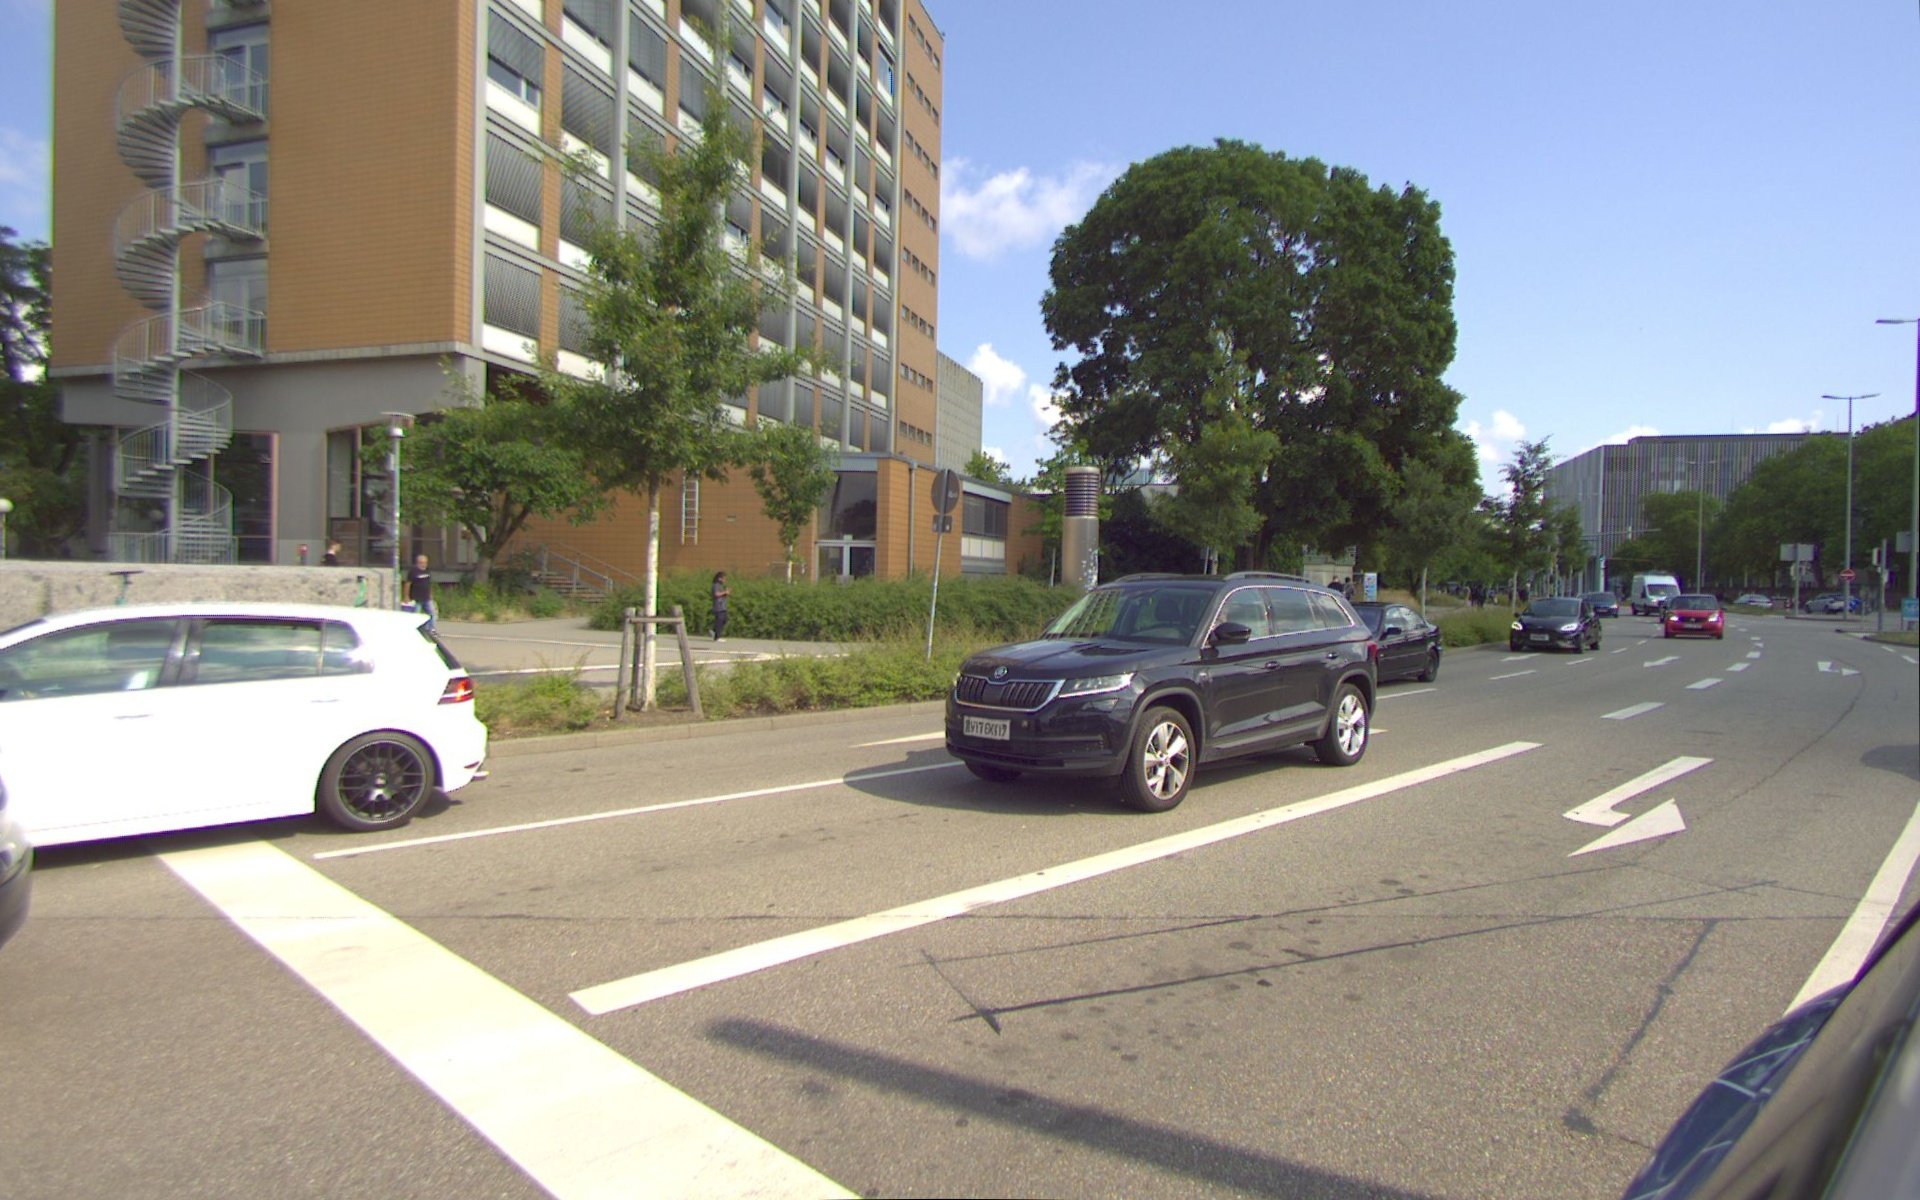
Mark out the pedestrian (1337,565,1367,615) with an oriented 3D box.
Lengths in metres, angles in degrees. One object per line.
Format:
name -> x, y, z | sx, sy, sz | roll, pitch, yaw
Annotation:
pedestrian -> 14.244, -0.358, 36.799 | 0.634, 1.766, 0.671 | 0, 5, -42

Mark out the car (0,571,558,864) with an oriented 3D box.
car -> -4.852, 0.622, 6.134 | 4.158, 1.465, 1.681 | 3, -3, -42

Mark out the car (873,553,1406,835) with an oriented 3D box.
car -> 1.701, 0.515, 8.371 | 4.605, 1.689, 1.996 | -1, 2, -43

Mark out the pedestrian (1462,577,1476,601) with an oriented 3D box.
pedestrian -> 44.459, -0.958, 88.412 | 0.979, 2.039, 1.118 | 1, 1, 31

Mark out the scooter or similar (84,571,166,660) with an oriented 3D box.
scooter or similar -> -12.171, 0.213, 14.743 | 1.173, 1.211, 0.400 | 3, 2, 22

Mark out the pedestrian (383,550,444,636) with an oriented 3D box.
pedestrian -> -10.850, -0.144, 20.097 | 0.769, 1.607, 0.755 | 6, 3, 36

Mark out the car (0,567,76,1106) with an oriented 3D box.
car -> -4.836, 0.675, 2.302 | 4.184, 1.547, 1.770 | 1, 3, -44

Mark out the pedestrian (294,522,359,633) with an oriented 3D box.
pedestrian -> -12.174, -0.448, 19.447 | 0.718, 2.037, 0.800 | 4, 4, 27

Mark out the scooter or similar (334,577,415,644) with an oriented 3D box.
scooter or similar -> -10.426, 0.182, 18.039 | 1.163, 1.144, 0.404 | 2, 2, -3

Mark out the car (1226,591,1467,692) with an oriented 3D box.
car -> 6.569, 0.633, 16.948 | 4.432, 1.415, 1.996 | 2, 1, -43

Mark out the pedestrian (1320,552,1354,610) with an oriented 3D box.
pedestrian -> 12.788, -0.649, 34.339 | 0.634, 1.893, 0.760 | 0, 4, -42

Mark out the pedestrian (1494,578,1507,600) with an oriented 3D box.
pedestrian -> 50.755, -1.005, 95.071 | 0.979, 2.039, 1.118 | 1, 1, 31

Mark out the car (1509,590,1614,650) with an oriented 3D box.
car -> 16.623, 0.509, 27.893 | 1.708, 1.472, 3.939 | 3, 2, 42

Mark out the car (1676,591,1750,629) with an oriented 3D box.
car -> 26.684, 0.314, 35.844 | 2.959, 1.229, 1.607 | -1, 2, -42

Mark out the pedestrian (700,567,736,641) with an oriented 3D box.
pedestrian -> -5.174, 0.071, 21.612 | 0.570, 1.539, 0.480 | 0, 3, -38

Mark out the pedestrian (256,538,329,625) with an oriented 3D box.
pedestrian -> -13.012, -0.378, 19.760 | 0.919, 1.607, 0.767 | 3, 3, -12

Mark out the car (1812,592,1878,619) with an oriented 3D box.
car -> 60.455, 0.344, 69.240 | 1.976, 1.705, 4.314 | 0, 1, 21

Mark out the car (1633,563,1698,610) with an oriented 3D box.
car -> 46.530, -0.920, 66.892 | 2.461, 2.915, 6.095 | 1, 1, 26

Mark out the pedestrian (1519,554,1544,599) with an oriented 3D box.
pedestrian -> 26.447, -1.068, 46.817 | 0.979, 2.039, 1.118 | 0, 0, 31

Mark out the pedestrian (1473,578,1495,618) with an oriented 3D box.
pedestrian -> 27.371, -0.126, 52.880 | 0.979, 2.039, 1.118 | 0, 0, 31

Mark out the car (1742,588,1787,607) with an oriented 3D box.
car -> 69.450, -0.254, 87.427 | 1.940, 1.507, 5.053 | 3, 2, 26
